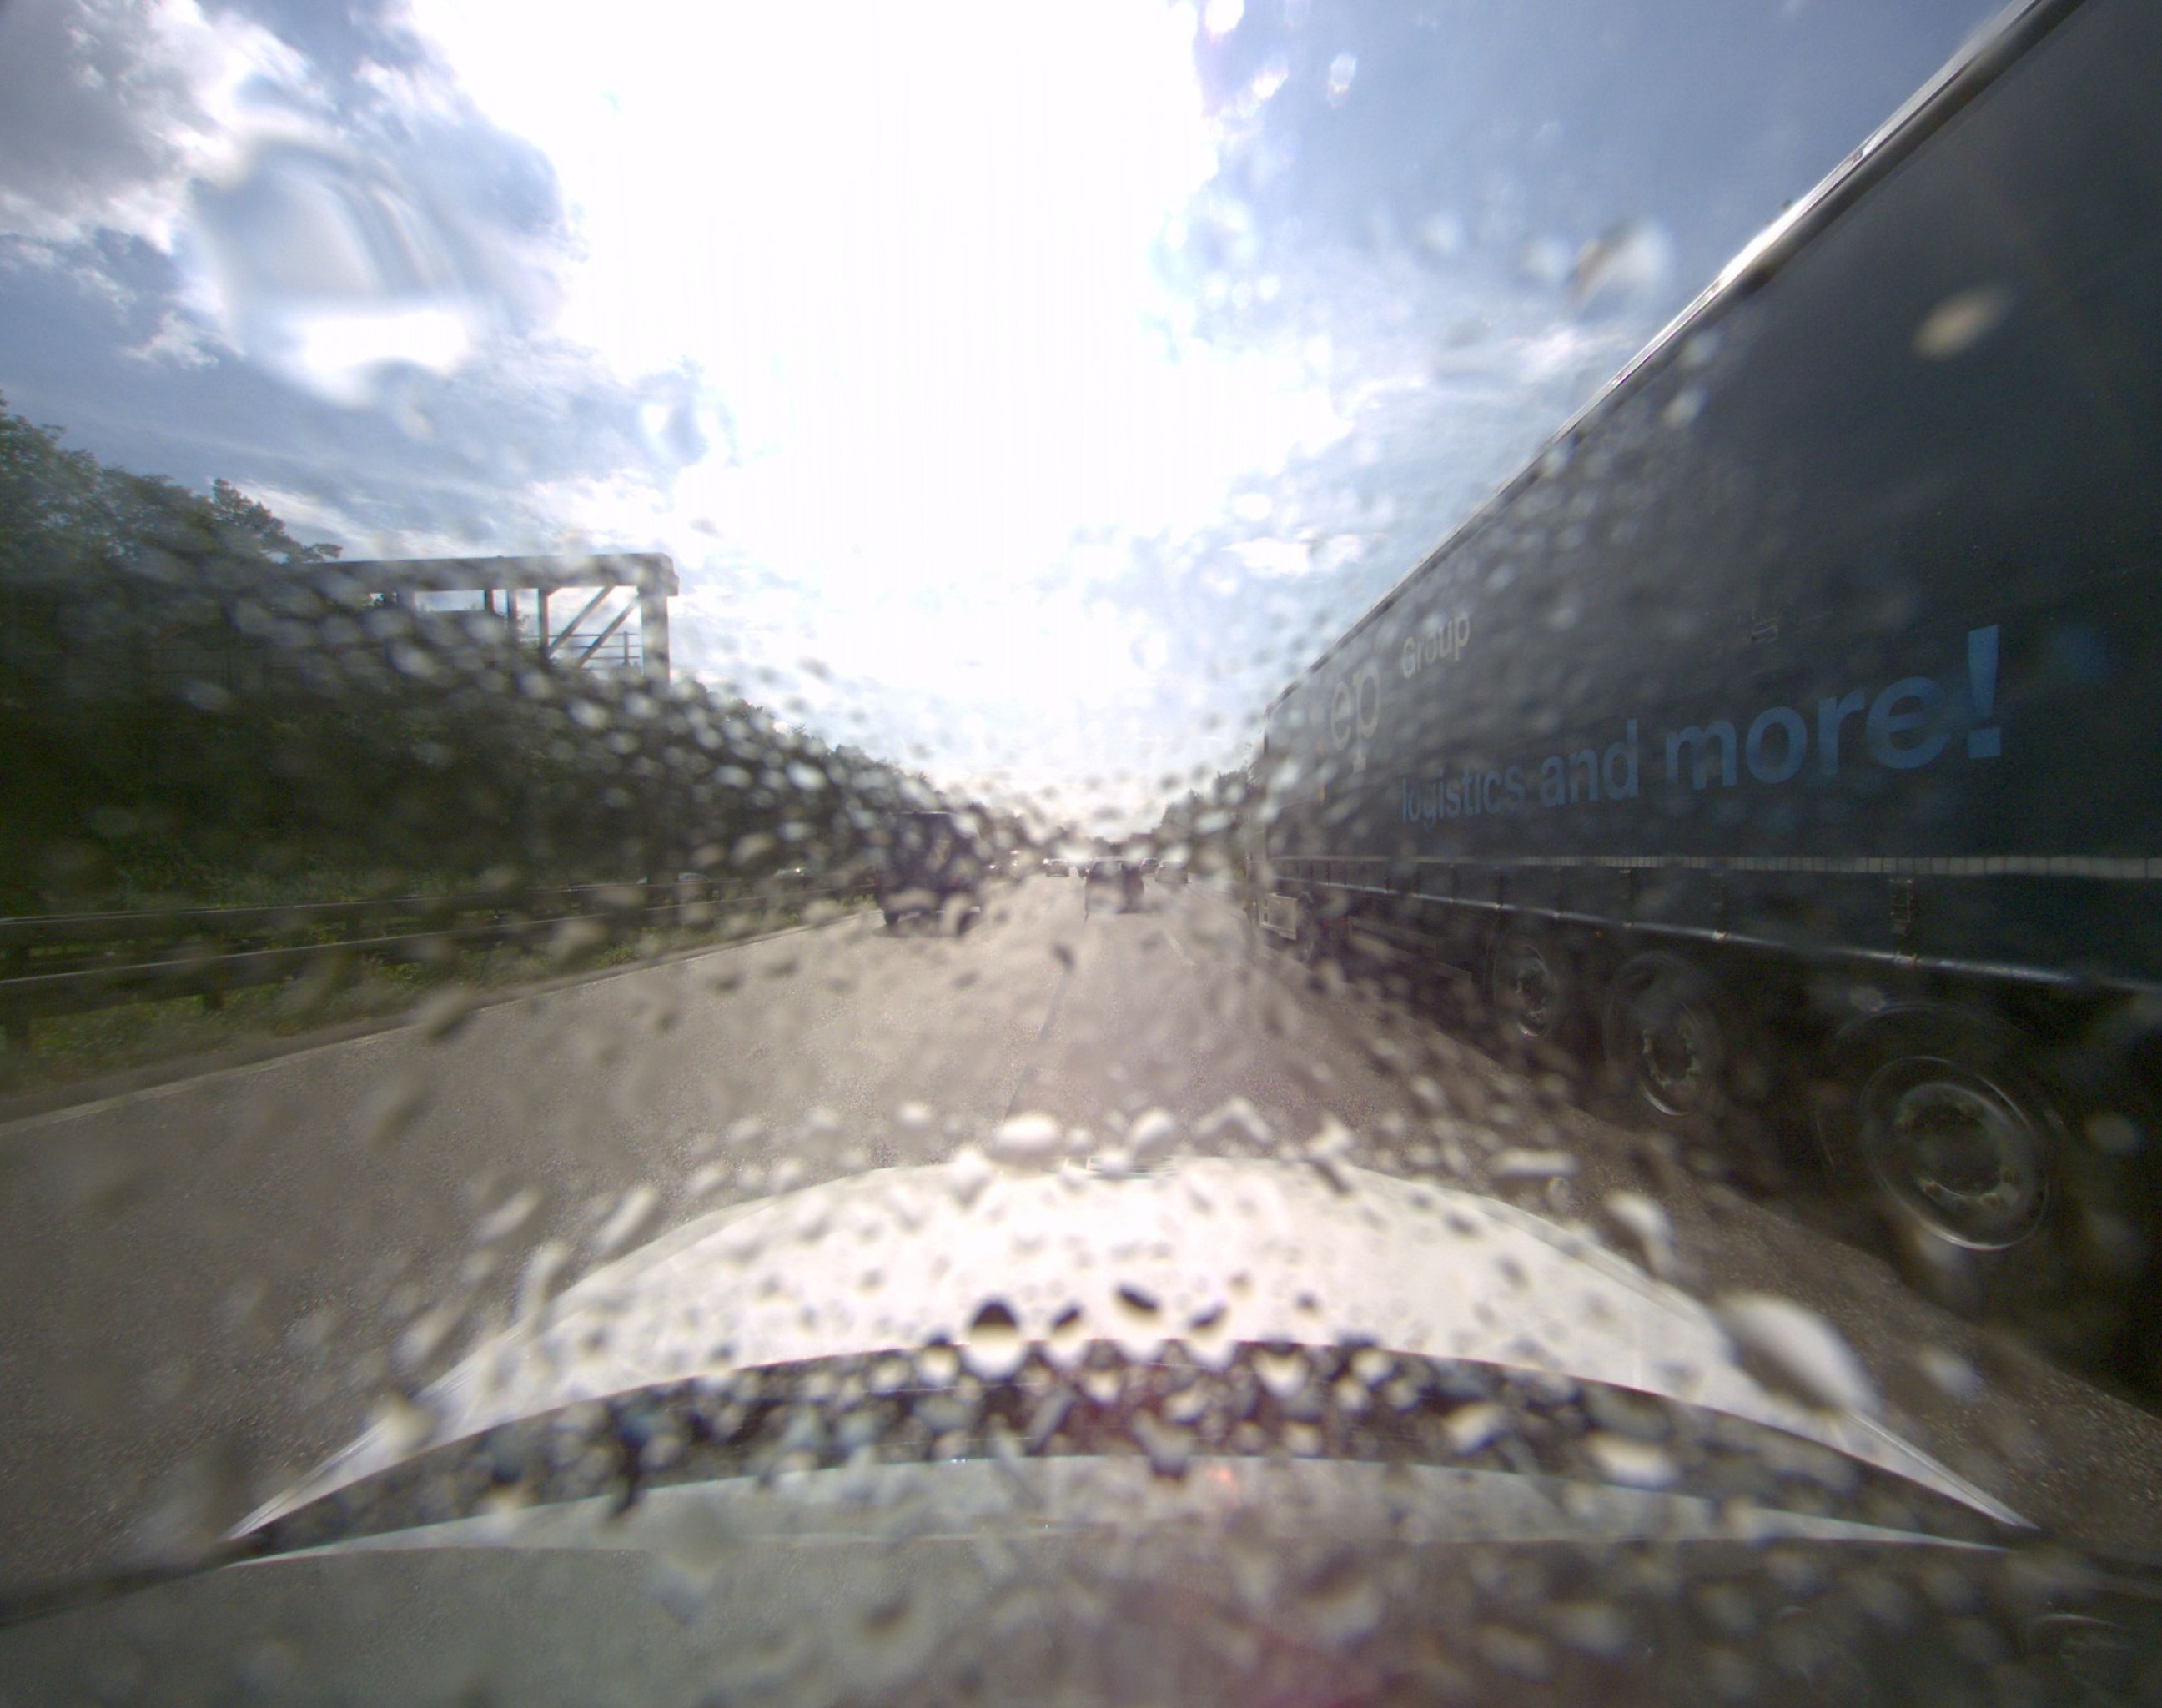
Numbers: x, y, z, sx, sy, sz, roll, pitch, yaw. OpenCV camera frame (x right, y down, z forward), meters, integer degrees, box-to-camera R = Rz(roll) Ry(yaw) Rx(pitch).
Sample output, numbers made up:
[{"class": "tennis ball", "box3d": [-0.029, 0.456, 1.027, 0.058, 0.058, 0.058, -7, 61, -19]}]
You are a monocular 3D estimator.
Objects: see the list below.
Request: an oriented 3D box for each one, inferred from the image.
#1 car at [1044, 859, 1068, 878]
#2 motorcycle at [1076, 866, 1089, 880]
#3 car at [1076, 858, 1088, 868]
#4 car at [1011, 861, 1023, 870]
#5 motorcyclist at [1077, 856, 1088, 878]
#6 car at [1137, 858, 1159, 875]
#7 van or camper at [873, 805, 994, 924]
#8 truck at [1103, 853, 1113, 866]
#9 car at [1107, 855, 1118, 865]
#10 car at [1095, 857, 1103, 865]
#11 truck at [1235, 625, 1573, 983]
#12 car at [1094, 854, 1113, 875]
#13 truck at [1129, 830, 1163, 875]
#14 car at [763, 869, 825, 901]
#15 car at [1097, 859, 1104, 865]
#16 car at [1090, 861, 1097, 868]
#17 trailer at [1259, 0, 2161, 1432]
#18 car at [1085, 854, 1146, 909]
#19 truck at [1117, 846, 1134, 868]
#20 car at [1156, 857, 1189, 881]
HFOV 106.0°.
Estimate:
[{"class": "car", "box3d": [-2.163, 1.228, 70.463, 1.848, 1.551, 3.486, 0, -1, 2]}, {"class": "motorcycle", "box3d": [0.115, 1.388, 60.559, 0.887, 1.000, 2.897, 0, -1, 2]}, {"class": "car", "box3d": [0.135, 1.355, 122.825, 1.745, 1.457, 3.391, 0, -1, 2]}, {"class": "car", "box3d": [-12.506, 2.257, 160.057, 1.822, 1.663, 4.632, 0, -1, 2]}, {"class": "motorcyclist", "box3d": [0.135, 0.993, 60.779, 0.799, 1.633, 1.013, 0, -1, 1]}, {"class": "car", "box3d": [5.793, 1.049, 70.705, 1.674, 1.442, 3.906, 0, -1, 2]}, {"class": "van or camper", "box3d": [-3.617, 0.263, 21.058, 1.986, 2.669, 5.386, 0, -1, 2]}, {"class": "truck", "box3d": [5.918, 1.202, 178.892, 2.184, 2.875, 4.851, 0, -1, 2]}, {"class": "car", "box3d": [4.600, 0.830, 117.852, 1.547, 1.383, 3.211, 0, -1, 2]}, {"class": "car", "box3d": [4.892, 1.762, 216.470, 1.986, 2.014, 4.002, -2, 0, 2]}, {"class": "truck", "box3d": [4.299, -0.525, 12.775, 2.597, 3.996, 7.293, 0, -1, 2]}, {"class": "car", "box3d": [1.910, 0.907, 69.265, 1.526, 1.746, 3.486, 0, -1, 2]}, {"class": "truck", "box3d": [7.441, -0.071, 95.460, 3.634, 4.720, 16.793, 0, -1, 3]}, {"class": "car", "box3d": [-15.968, 1.699, 45.499, 1.848, 1.663, 4.237, 0, -1, 2]}, {"class": "car", "box3d": [5.907, 2.339, 241.735, 1.986, 1.701, 4.002, -2, 0, 2]}, {"class": "car", "box3d": [2.683, 2.313, 175.280, 1.479, 1.390, 3.199, 0, -1, 2]}, {"class": "trailer", "box3d": [4.092, -0.556, 6.721, 2.624, 3.996, 14.070, 0, -1, 2]}, {"class": "car", "box3d": [1.040, 0.802, 25.061, 1.711, 1.568, 3.486, 0, -1, 2]}, {"class": "truck", "box3d": [9.433, 0.659, 172.033, 3.242, 4.479, 12.431, 0, -1, 3]}, {"class": "car", "box3d": [5.576, 0.913, 49.955, 1.686, 1.425, 4.221, 0, -1, 2]}]
